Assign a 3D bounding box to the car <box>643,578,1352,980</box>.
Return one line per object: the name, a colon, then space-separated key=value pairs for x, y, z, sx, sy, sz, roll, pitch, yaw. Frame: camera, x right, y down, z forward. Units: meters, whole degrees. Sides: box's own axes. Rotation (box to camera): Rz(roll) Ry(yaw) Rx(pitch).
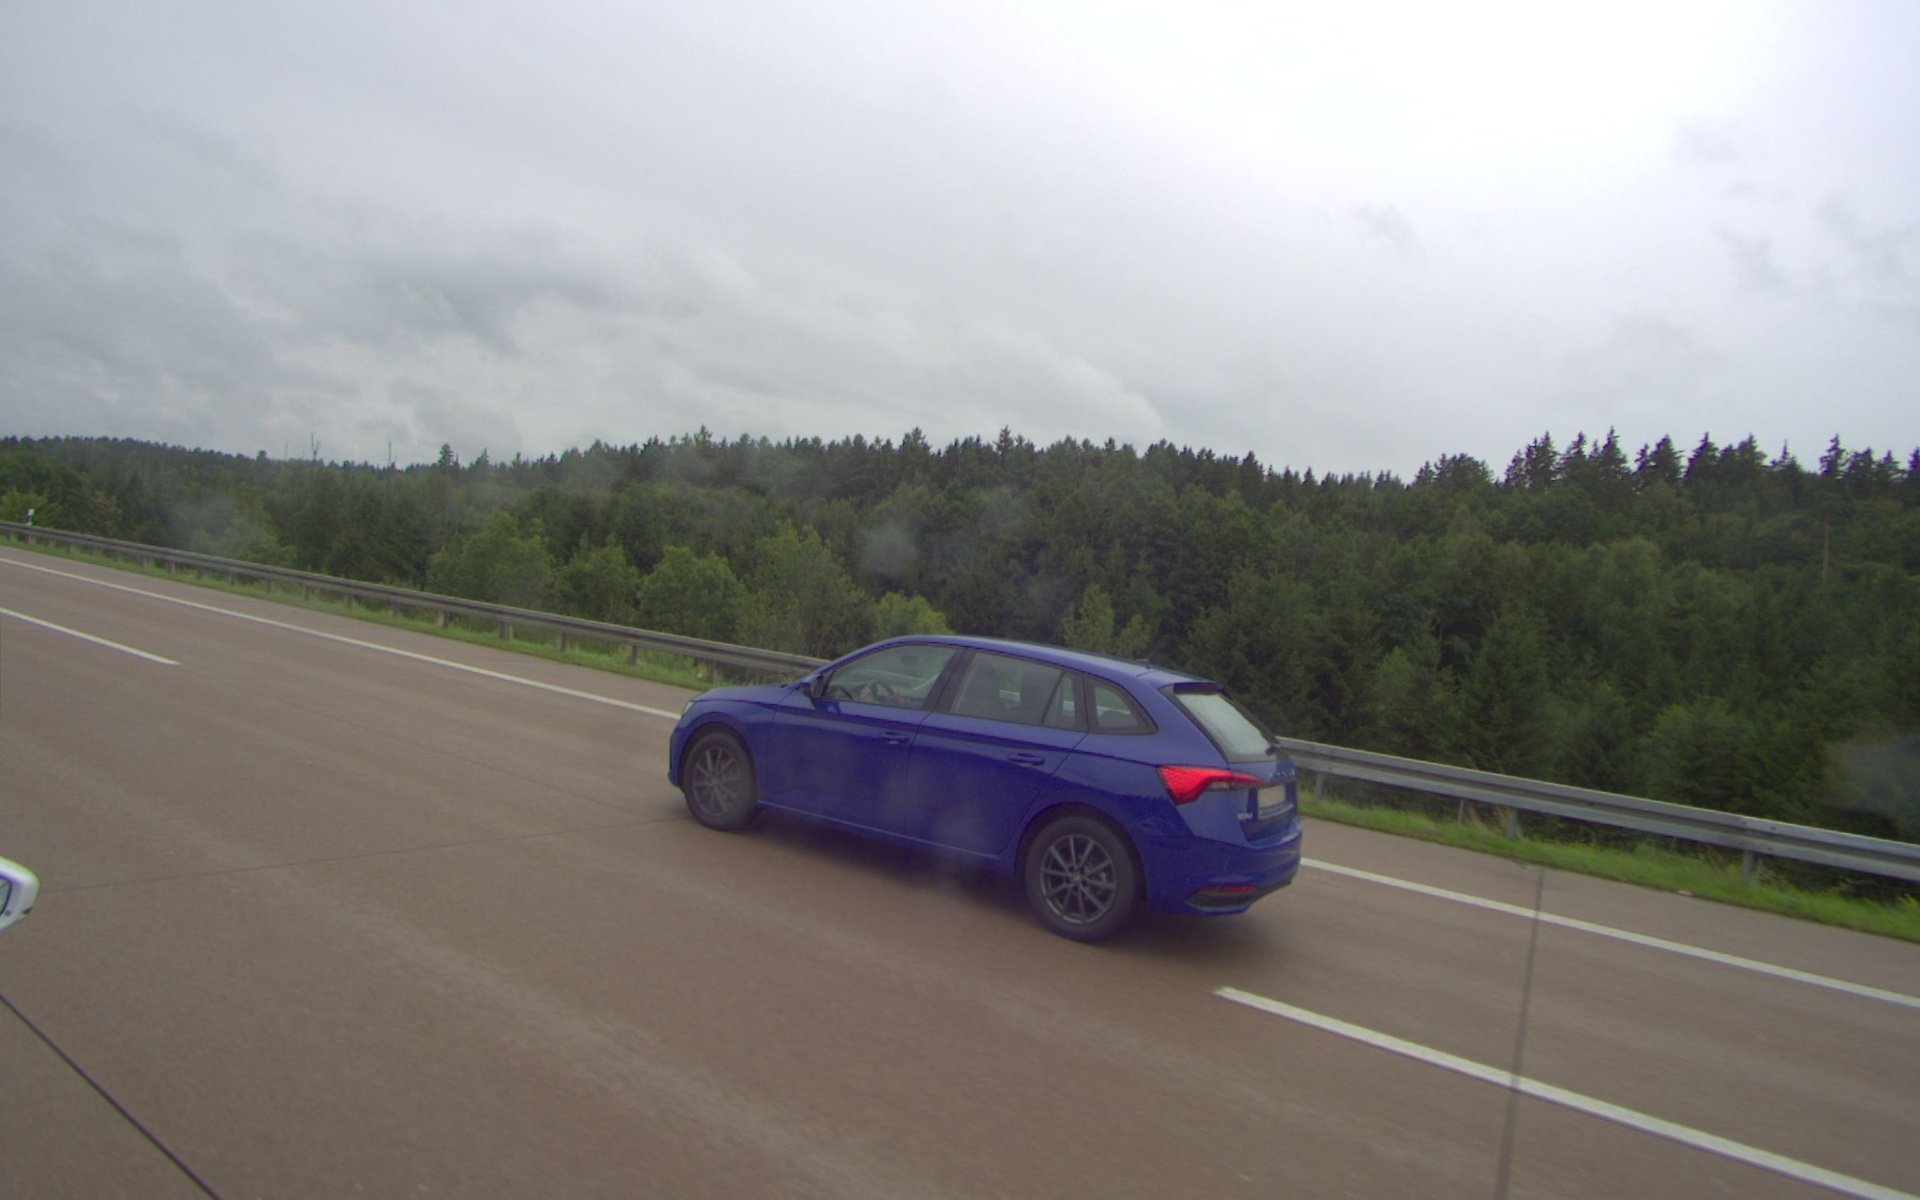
car: x=0.138 y=0.892 z=6.468 sx=4.078 sy=1.582 sz=1.775 roll=5 pitch=-3 yaw=32
